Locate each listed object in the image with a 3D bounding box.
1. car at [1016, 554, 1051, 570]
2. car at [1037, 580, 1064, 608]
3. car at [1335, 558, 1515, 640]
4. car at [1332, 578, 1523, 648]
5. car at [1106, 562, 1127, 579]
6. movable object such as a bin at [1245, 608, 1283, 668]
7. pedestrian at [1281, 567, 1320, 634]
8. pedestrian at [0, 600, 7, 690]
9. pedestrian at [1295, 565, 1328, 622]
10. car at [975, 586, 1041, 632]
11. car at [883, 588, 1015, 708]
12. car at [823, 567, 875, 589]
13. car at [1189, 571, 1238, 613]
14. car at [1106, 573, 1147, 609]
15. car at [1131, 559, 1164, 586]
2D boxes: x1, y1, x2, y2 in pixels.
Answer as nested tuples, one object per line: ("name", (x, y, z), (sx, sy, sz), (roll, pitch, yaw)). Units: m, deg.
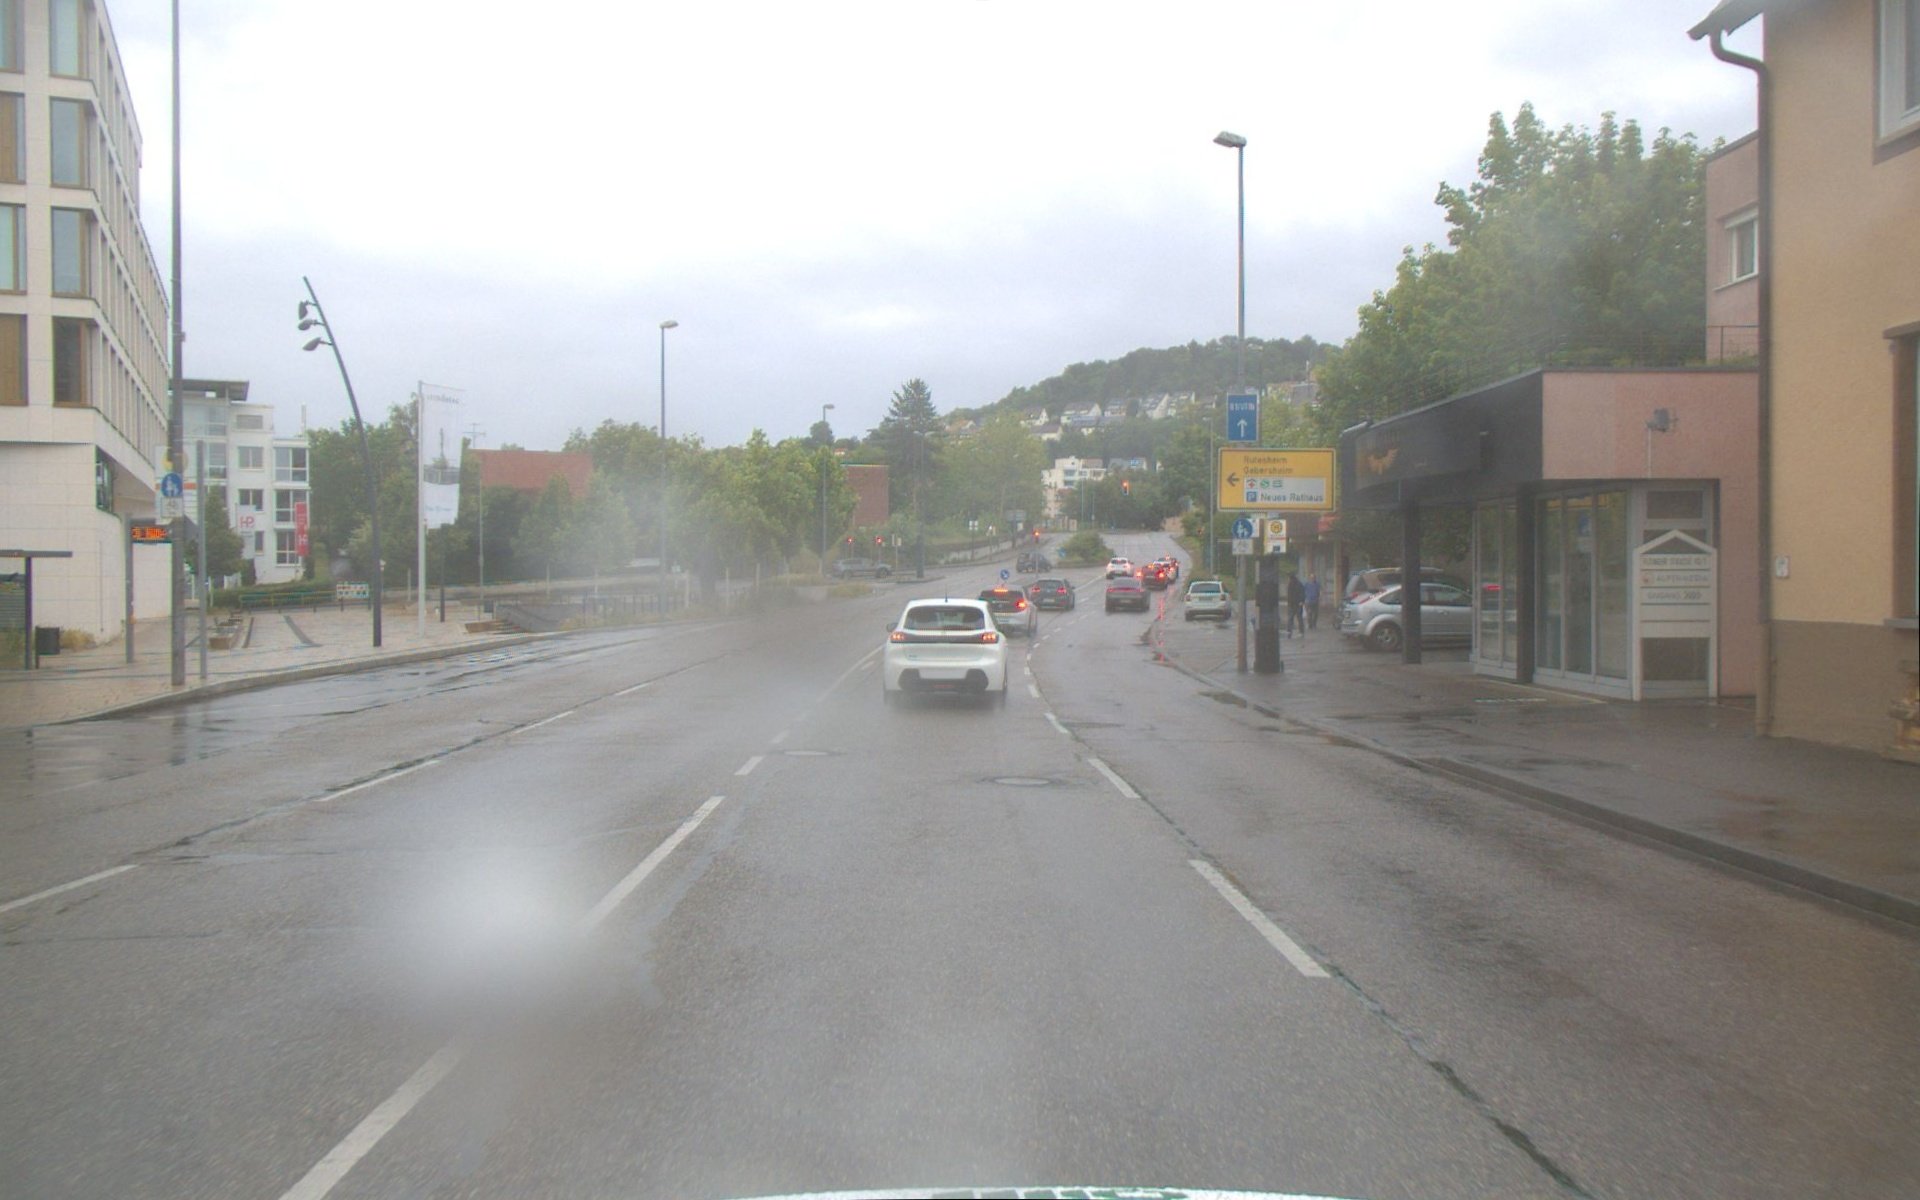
("car", (5.781, -3.014, 130.191), (2.393, 1.177, 1.357), (-1, -1, -30))
("car", (4.056, -0.275, 74.285), (1.187, 1.176, 2.271), (-1, -1, 3))
("car", (11.523, -0.046, 41.194), (4.008, 1.903, 1.877), (-1, 1, 4))
("car", (10.592, 0.281, 37.680), (3.903, 1.472, 1.747), (-1, 1, 4))
("car", (11.278, -2.113, 119.018), (1.355, 1.146, 2.612), (-1, -1, 8))
("movable object such as a bin", (5.820, 0.729, 31.687), (0.623, 1.093, 0.699), (-1, 2, 2))
("pedestrian", (9.537, 0.009, 46.290), (0.700, 1.853, 0.789), (0, -2, -27))
("pedestrian", (-19.257, 0.892, 32.483), (0.769, 1.776, 0.671), (-1, -1, -15))
("pedestrian", (11.130, -0.205, 52.348), (0.857, 1.767, 0.760), (-2, 1, 1))
("car", (1.483, 0.261, 50.214), (1.704, 1.318, 3.336), (-1, 0, 6))
("car", (-0.081, 0.637, 23.760), (1.655, 1.545, 3.934), (1, 0, 3))
("car", (-8.316, -1.627, 123.713), (3.471, 1.596, 1.786), (-1, -1, -26))
("car", (10.060, -0.357, 65.461), (1.693, 1.523, 4.485), (-2, 1, 11))
("car", (7.581, -0.426, 75.528), (1.697, 1.411, 3.355), (1, 4, 4))
("car", (11.810, -1.727, 104.402), (1.614, 1.511, 3.364), (-1, -1, -2))
